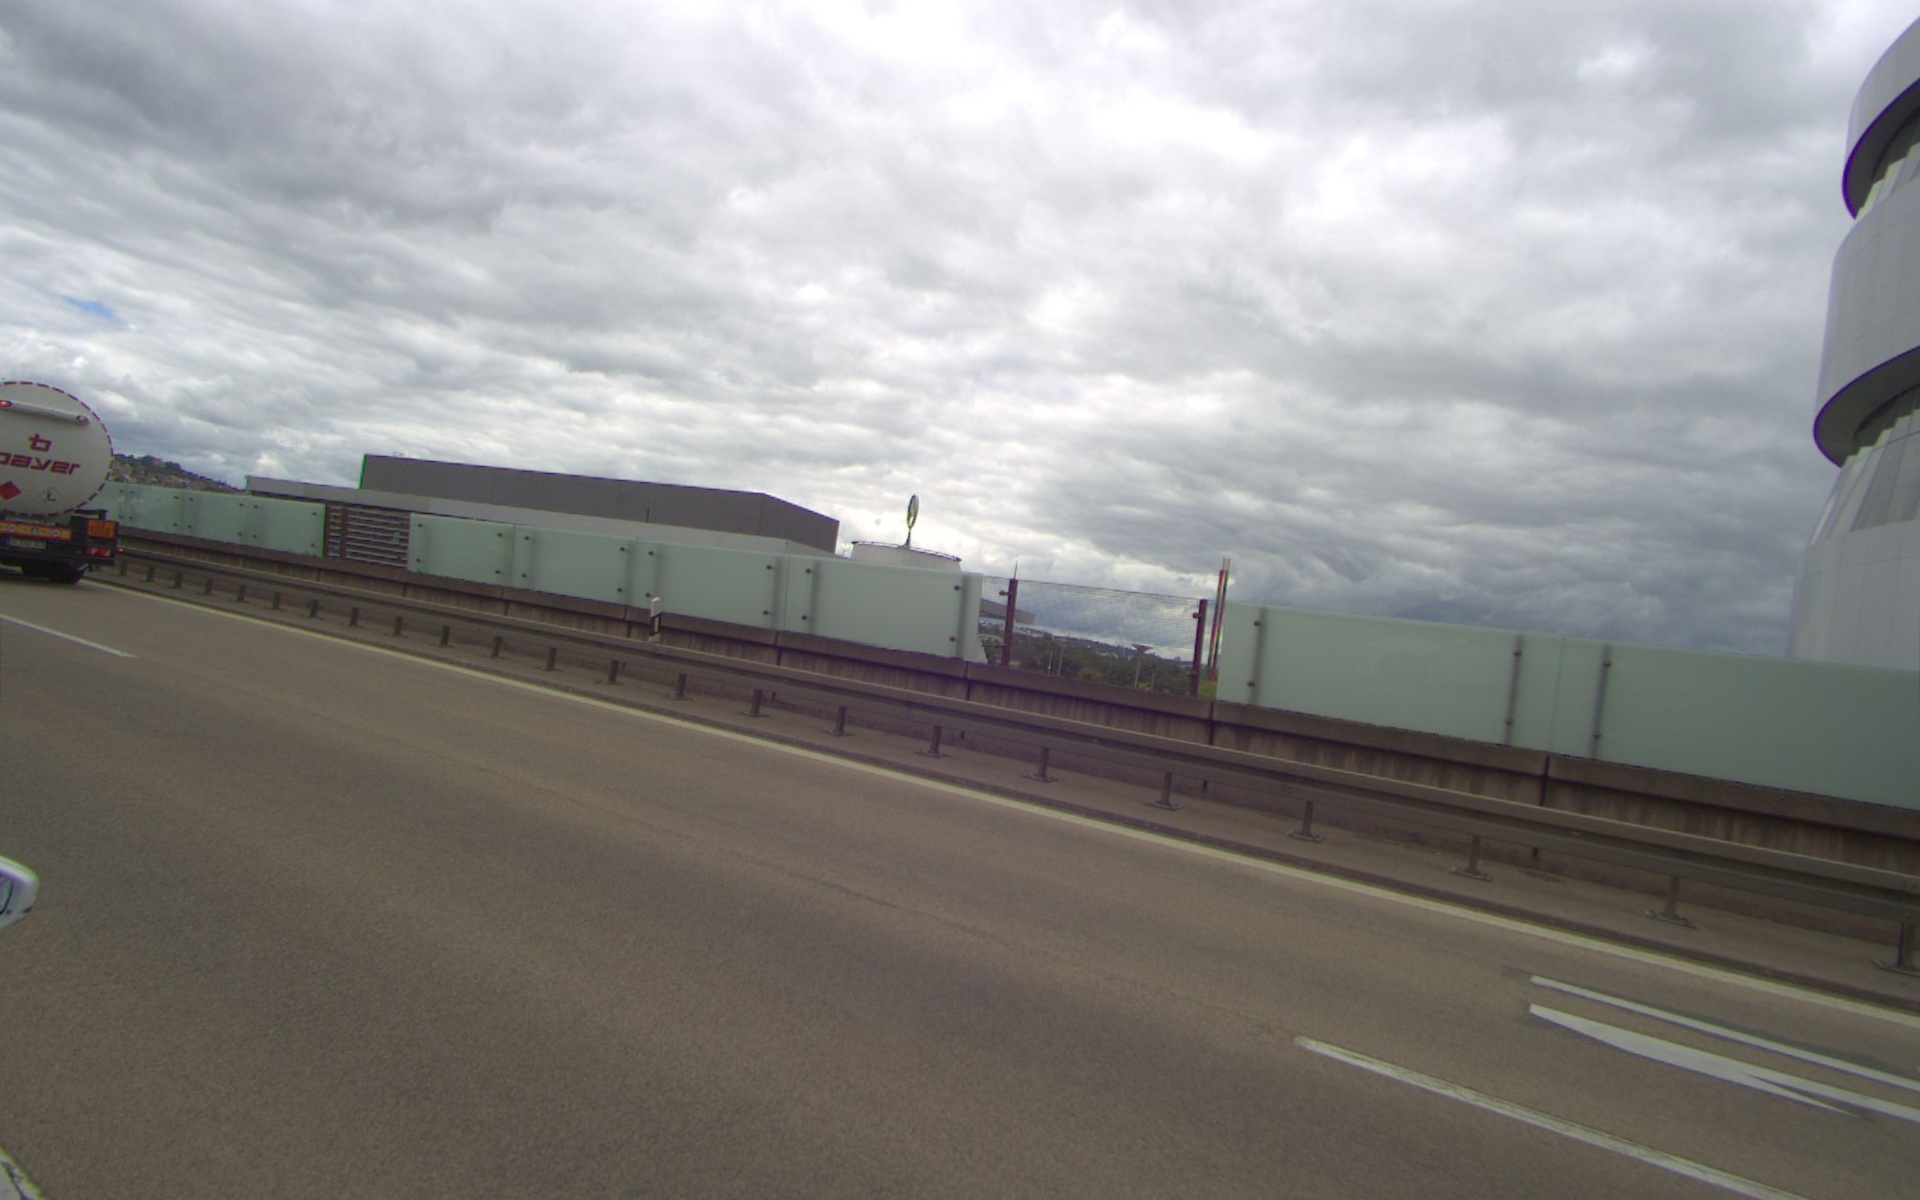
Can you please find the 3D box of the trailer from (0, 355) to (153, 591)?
[{"bbox_3d":[-19.921,-2.613,19.453,11.030,3.585,2.656,7,-1,30],"label":"trailer"}]
